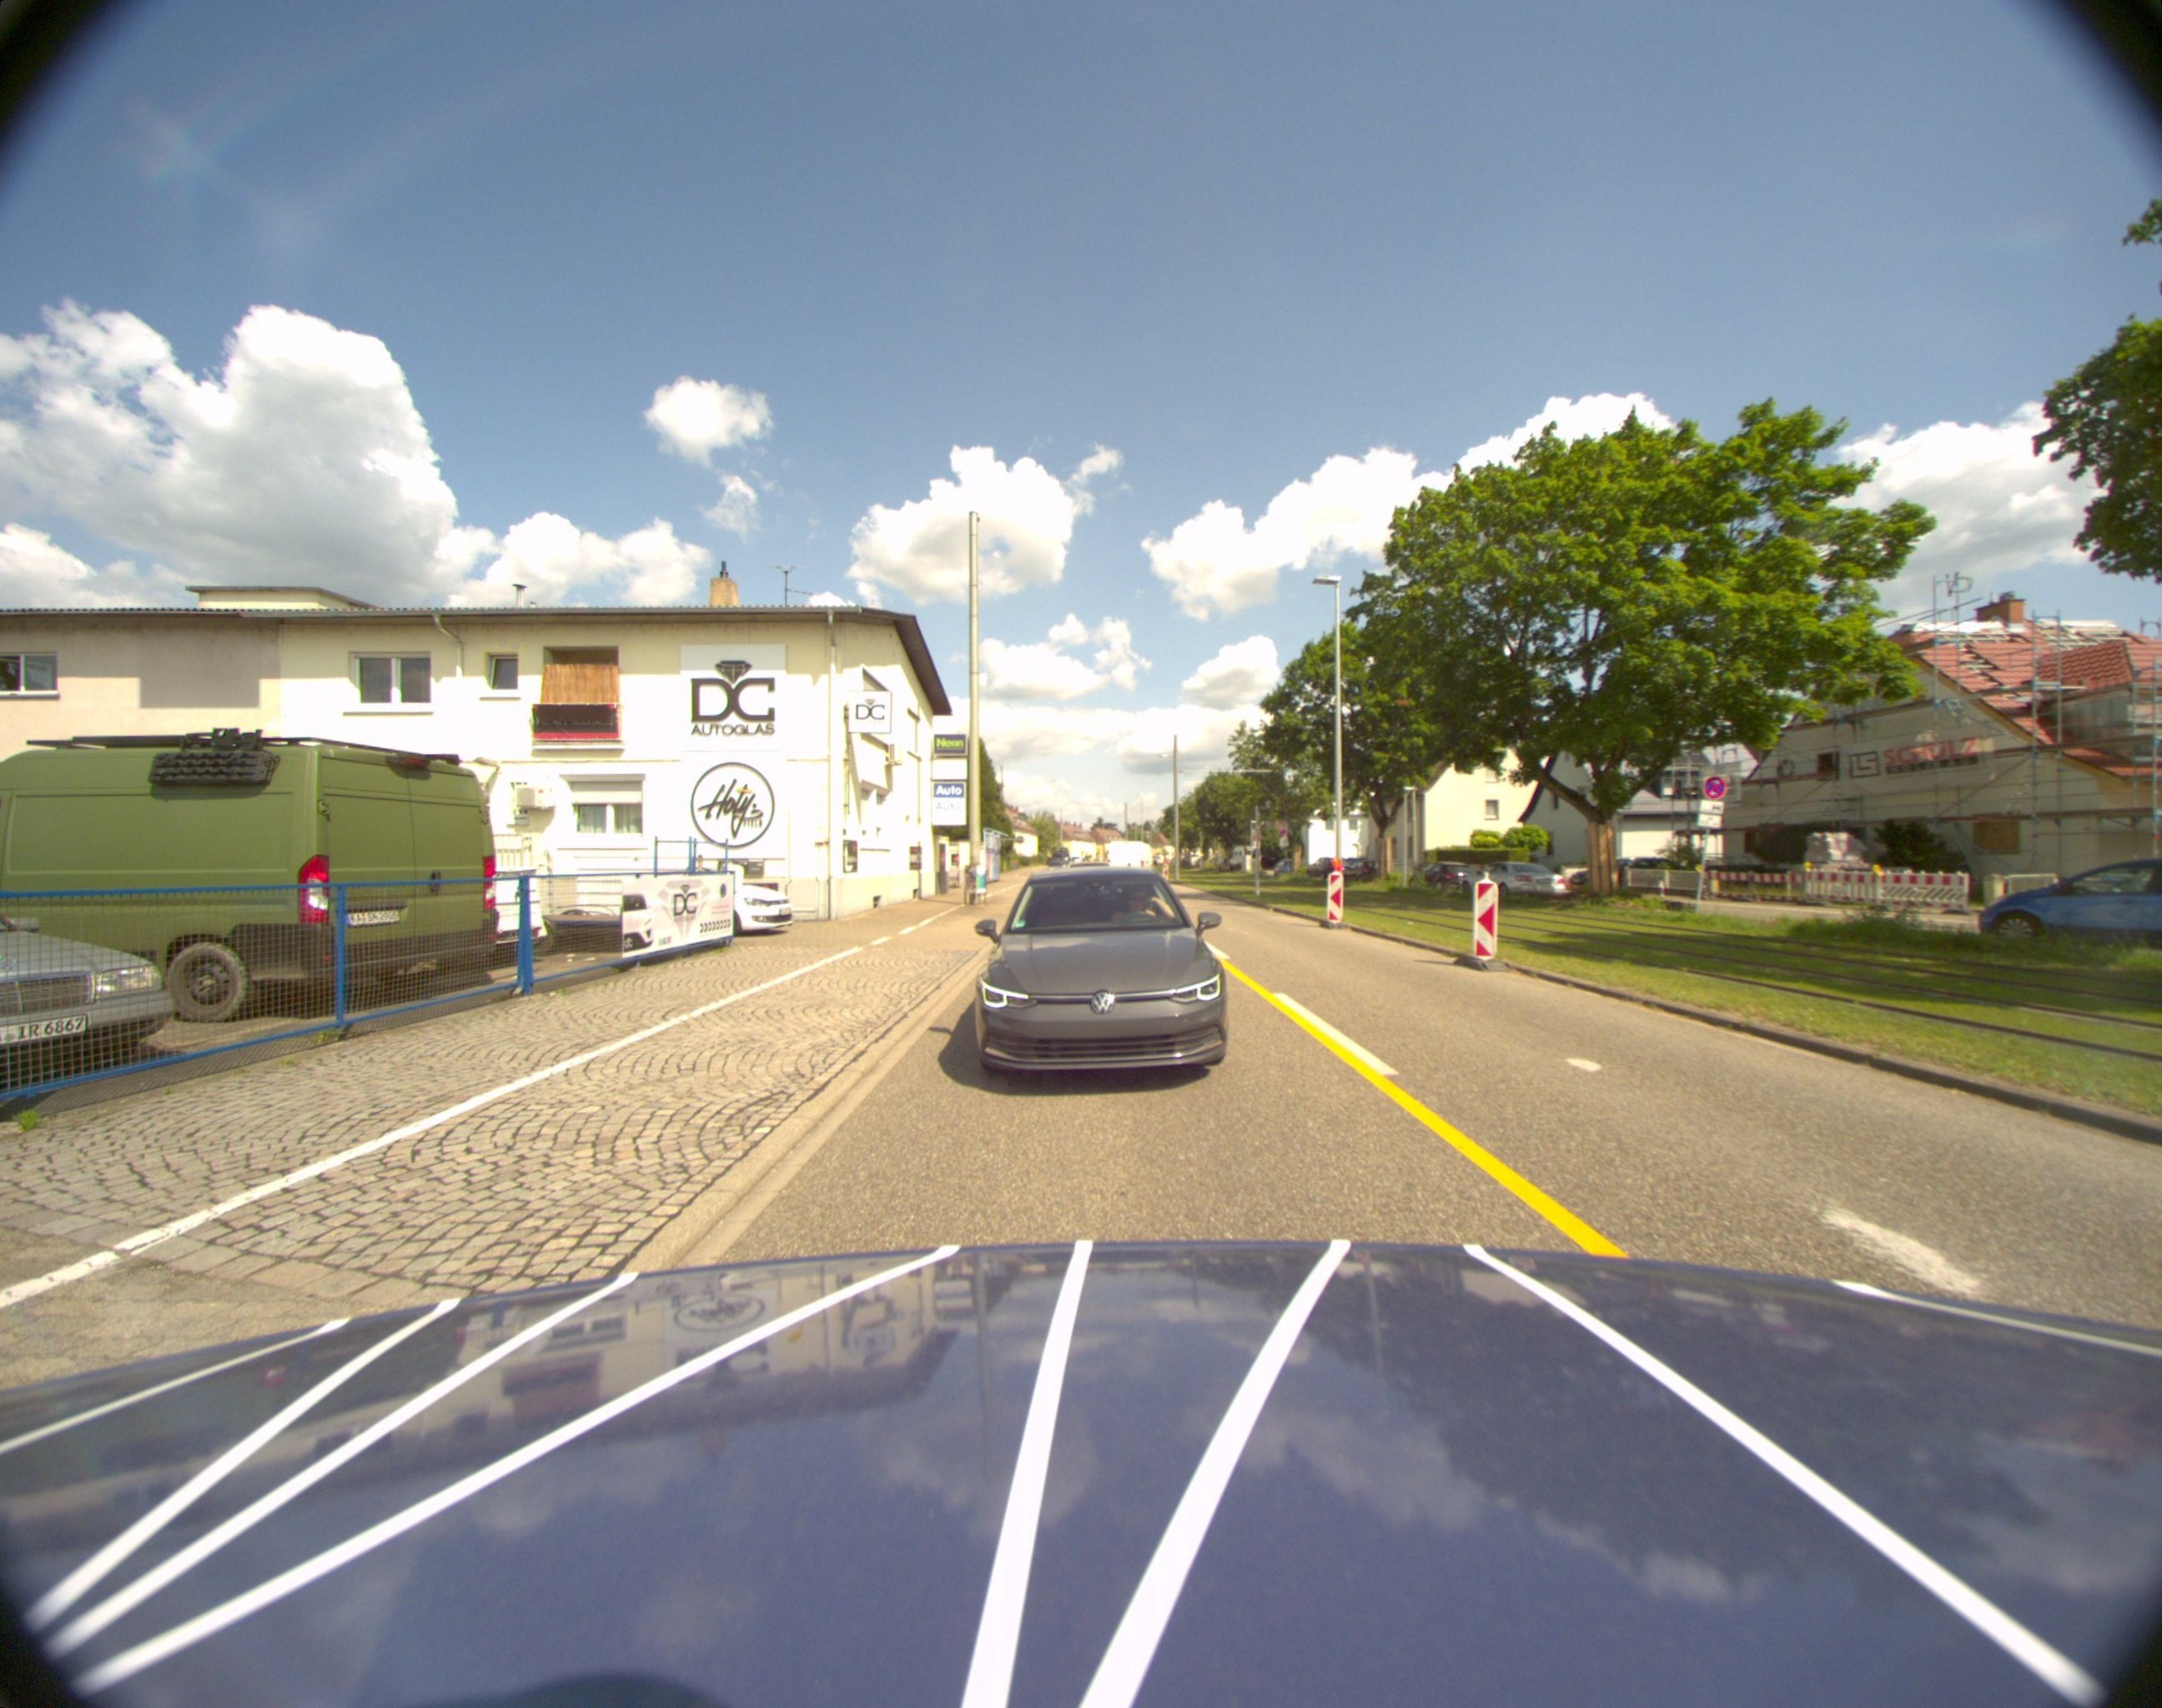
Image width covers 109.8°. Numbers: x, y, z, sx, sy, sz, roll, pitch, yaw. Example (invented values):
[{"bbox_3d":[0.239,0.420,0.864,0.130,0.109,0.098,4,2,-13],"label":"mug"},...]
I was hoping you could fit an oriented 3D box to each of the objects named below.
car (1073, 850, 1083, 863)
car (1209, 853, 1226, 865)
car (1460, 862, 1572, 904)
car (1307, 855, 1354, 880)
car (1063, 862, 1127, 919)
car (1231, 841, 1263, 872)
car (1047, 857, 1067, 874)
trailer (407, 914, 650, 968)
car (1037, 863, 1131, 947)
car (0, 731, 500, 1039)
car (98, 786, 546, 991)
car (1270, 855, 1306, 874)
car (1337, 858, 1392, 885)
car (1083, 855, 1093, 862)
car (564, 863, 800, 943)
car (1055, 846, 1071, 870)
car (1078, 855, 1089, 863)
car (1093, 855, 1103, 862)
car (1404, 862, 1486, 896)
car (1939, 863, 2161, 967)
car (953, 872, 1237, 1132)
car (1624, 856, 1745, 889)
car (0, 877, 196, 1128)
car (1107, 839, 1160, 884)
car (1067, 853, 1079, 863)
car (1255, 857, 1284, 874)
[{"bbox_3d":[-0.483,0.432,136.401,1.701,2.233,4.947,0,0,2],"label":"car"},{"bbox_3d":[18.774,0.686,104.729,1.701,1.477,4.407,-1,-1,2],"label":"car"},{"bbox_3d":[16.420,1.074,28.966,1.788,1.477,4.523,-1,-1,2],"label":"car"},{"bbox_3d":[16.554,0.907,50.658,1.702,1.562,4.407,-1,-1,1],"label":"car"},{"bbox_3d":[0.389,1.003,22.289,1.702,1.477,4.000,0,0,1],"label":"car"},{"bbox_3d":[16.819,0.283,77.269,2.136,3.019,5.084,-1,-1,1],"label":"car"},{"bbox_3d":[-2.184,1.054,70.752,1.702,1.574,4.000,0,0,1],"label":"car"},{"bbox_3d":[-8.369,1.310,11.658,2.733,0.662,1.329,0,0,-1],"label":"trailer"},{"bbox_3d":[0.078,0.945,15.815,1.702,1.477,4.000,0,0,1],"label":"car"},{"bbox_3d":[-8.727,0.274,7.608,4.207,2.627,2.113,0,0,2],"label":"car"},{"bbox_3d":[-9.502,0.405,9.727,4.207,2.392,1.586,0,0,2],"label":"car"},{"bbox_3d":[16.645,0.884,61.279,1.702,1.477,4.407,-1,-1,1],"label":"car"},{"bbox_3d":[16.770,1.043,45.152,1.702,1.477,4.407,-1,-1,1],"label":"car"},{"bbox_3d":[1.449,0.919,155.836,1.701,1.574,4.002,0,0,7],"label":"car"},{"bbox_3d":[-7.663,0.919,14.816,3.775,1.454,1.555,0,0,2],"label":"car"},{"bbox_3d":[-1.911,0.457,82.437,1.702,2.510,5.144,0,0,0],"label":"car"},{"bbox_3d":[0.491,0.915,146.705,1.701,1.574,4.002,0,0,6],"label":"car"},{"bbox_3d":[3.854,0.926,173.595,1.700,1.574,4.004,0,0,12],"label":"car"},{"bbox_3d":[16.625,1.128,34.935,1.702,1.477,4.407,-1,-1,1],"label":"car"},{"bbox_3d":[16.201,0.873,11.396,1.702,1.477,4.407,-1,-1,1],"label":"car"},{"bbox_3d":[0.109,0.940,6.569,1.702,1.477,4.000,0,0,1],"label":"car"},{"bbox_3d":[28.906,0.899,36.508,4.402,1.477,1.704,-1,-1,1],"label":"car"},{"bbox_3d":[-8.460,0.891,4.772,4.282,1.444,1.713,0,0,8],"label":"car"},{"bbox_3d":[3.195,0.406,44.834,2.088,2.449,5.848,2,0,13],"label":"car"},{"bbox_3d":[-1.310,0.683,123.038,1.701,1.574,4.001,0,0,3],"label":"car"},{"bbox_3d":[17.648,1.087,71.324,1.702,1.477,4.407,-1,-1,1],"label":"car"}]
